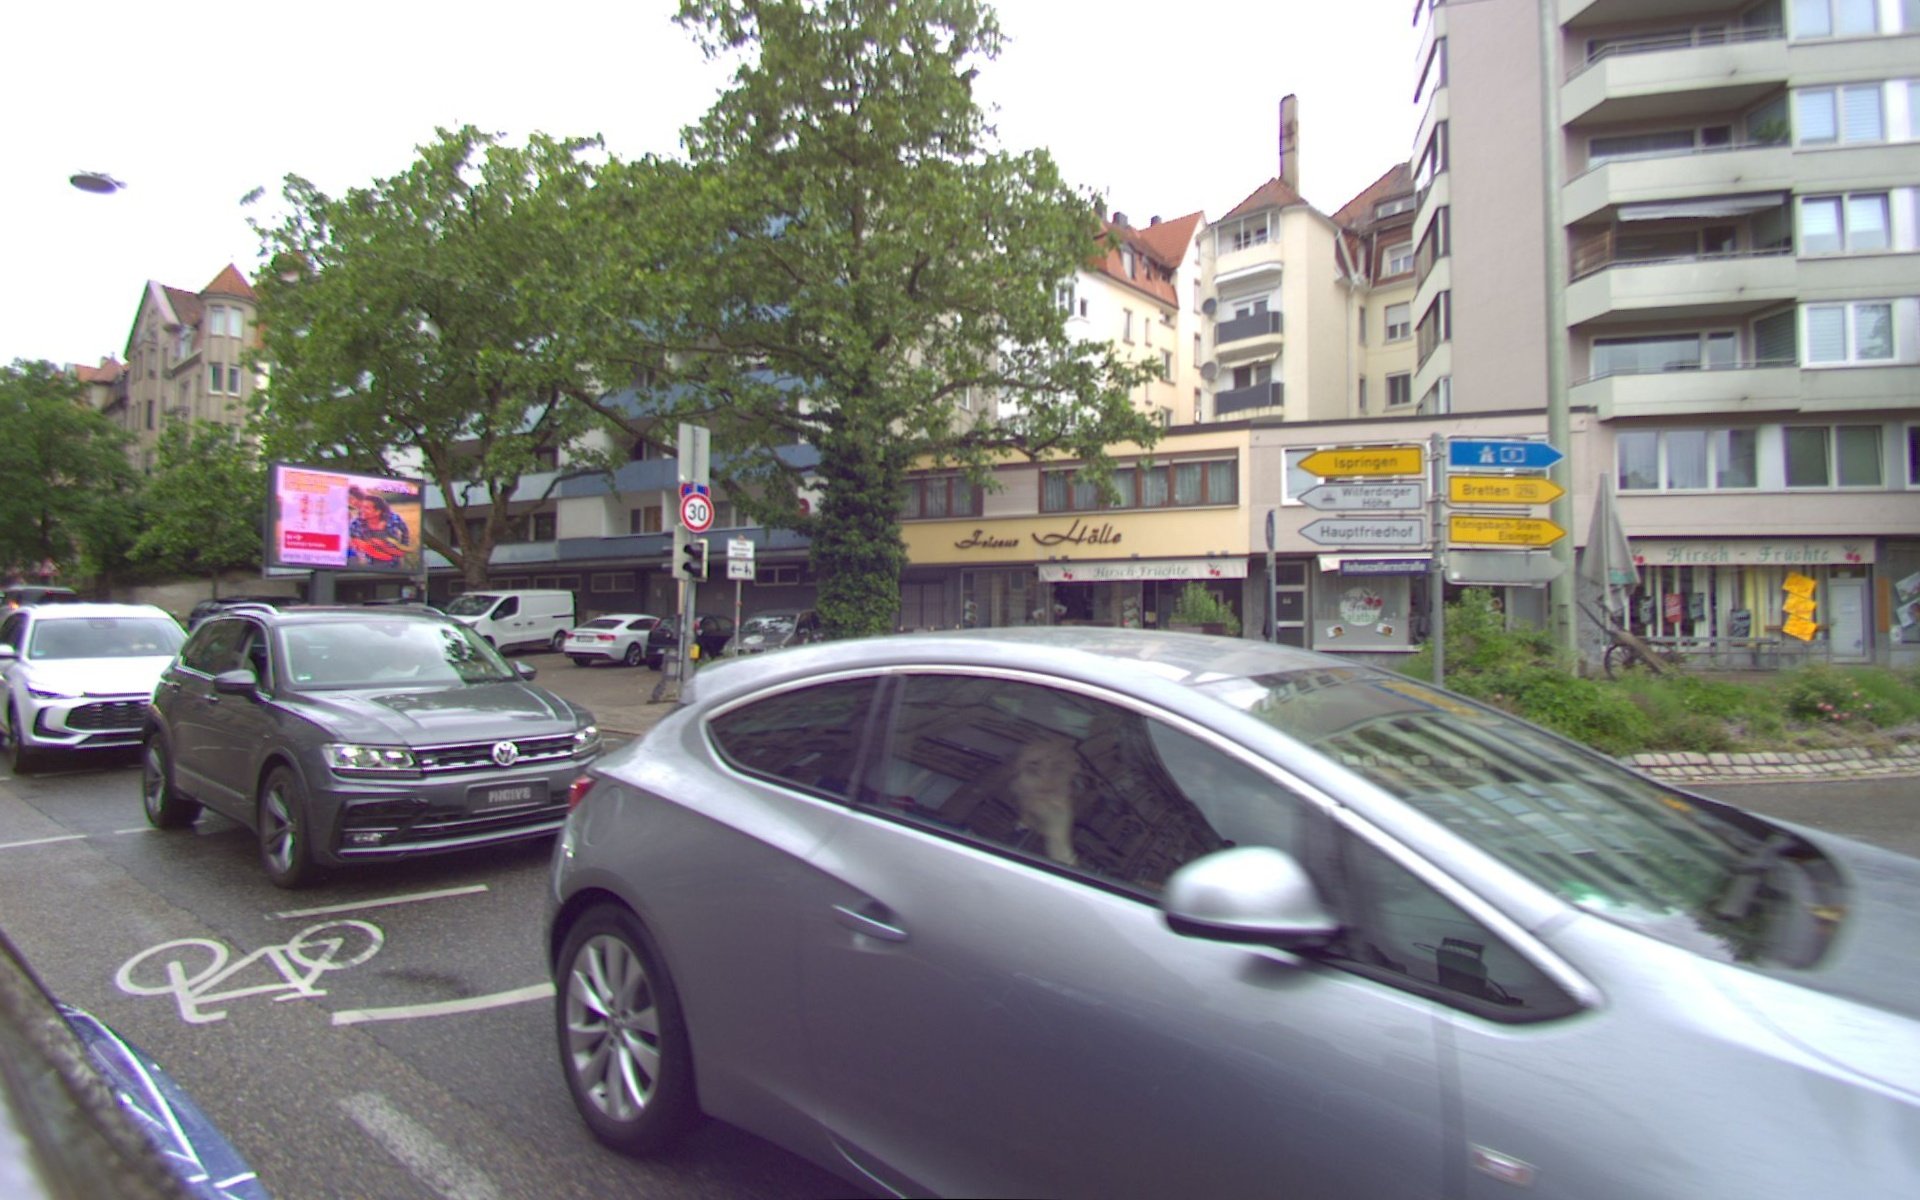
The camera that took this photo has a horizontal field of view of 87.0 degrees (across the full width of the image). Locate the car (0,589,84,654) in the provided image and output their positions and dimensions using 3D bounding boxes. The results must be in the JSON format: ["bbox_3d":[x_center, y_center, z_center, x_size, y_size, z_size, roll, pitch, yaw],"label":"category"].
[{"bbox_3d":[-30.269,0.681,32.963,4.238,1.896,1.795,0,-5,39],"label":"car"}]

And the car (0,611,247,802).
[{"bbox_3d":[-9.669,0.987,11.216,4.373,1.657,1.735,0,0,38],"label":"car"}]

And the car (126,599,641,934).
[{"bbox_3d":[-4.187,0.894,7.043,4.208,1.657,1.735,-2,-2,39],"label":"car"}]

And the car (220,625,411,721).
[{"bbox_3d":[-11.495,1.254,17.980,3.678,1.508,1.697,-1,-4,39],"label":"car"}]

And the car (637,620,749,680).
[{"bbox_3d":[-7.166,1.296,27.545,1.613,1.426,3.611,0,0,10],"label":"car"}]

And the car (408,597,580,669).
[{"bbox_3d":[-14.015,0.925,30.788,1.865,1.992,4.945,0,0,19],"label":"car"}]

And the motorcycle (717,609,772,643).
[{"bbox_3d":[-7.835,0.945,36.774,1.953,1.176,0.697,1,-1,29],"label":"motorcycle"}]

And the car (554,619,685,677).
[{"bbox_3d":[-9.448,1.286,28.385,1.794,1.426,3.689,0,0,14],"label":"car"}]

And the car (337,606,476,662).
[{"bbox_3d":[-18.265,1.090,33.593,1.793,1.702,3.810,1,0,20],"label":"car"}]

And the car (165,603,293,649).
[{"bbox_3d":[-28.000,0.958,38.909,1.752,1.543,3.823,1,2,11],"label":"car"}]

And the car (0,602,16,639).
[{"bbox_3d":[-39.909,0.764,41.021,4.320,1.459,1.709,1,-4,38],"label":"car"}]

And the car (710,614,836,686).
[{"bbox_3d":[-4.781,1.226,26.512,1.920,1.655,4.204,0,0,10],"label":"car"}]

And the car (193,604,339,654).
[{"bbox_3d":[-25.251,1.007,36.994,1.795,1.605,4.291,1,1,15],"label":"car"}]

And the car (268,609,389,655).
[{"bbox_3d":[-22.882,1.120,36.833,1.661,1.416,3.827,1,2,8],"label":"car"}]

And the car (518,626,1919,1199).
[{"bbox_3d":[0.787,0.819,2.360,4.179,1.494,1.733,-1,-2,41],"label":"car"}]

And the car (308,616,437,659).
[{"bbox_3d":[-20.658,1.278,35.744,1.677,1.416,3.813,1,0,18],"label":"car"}]
